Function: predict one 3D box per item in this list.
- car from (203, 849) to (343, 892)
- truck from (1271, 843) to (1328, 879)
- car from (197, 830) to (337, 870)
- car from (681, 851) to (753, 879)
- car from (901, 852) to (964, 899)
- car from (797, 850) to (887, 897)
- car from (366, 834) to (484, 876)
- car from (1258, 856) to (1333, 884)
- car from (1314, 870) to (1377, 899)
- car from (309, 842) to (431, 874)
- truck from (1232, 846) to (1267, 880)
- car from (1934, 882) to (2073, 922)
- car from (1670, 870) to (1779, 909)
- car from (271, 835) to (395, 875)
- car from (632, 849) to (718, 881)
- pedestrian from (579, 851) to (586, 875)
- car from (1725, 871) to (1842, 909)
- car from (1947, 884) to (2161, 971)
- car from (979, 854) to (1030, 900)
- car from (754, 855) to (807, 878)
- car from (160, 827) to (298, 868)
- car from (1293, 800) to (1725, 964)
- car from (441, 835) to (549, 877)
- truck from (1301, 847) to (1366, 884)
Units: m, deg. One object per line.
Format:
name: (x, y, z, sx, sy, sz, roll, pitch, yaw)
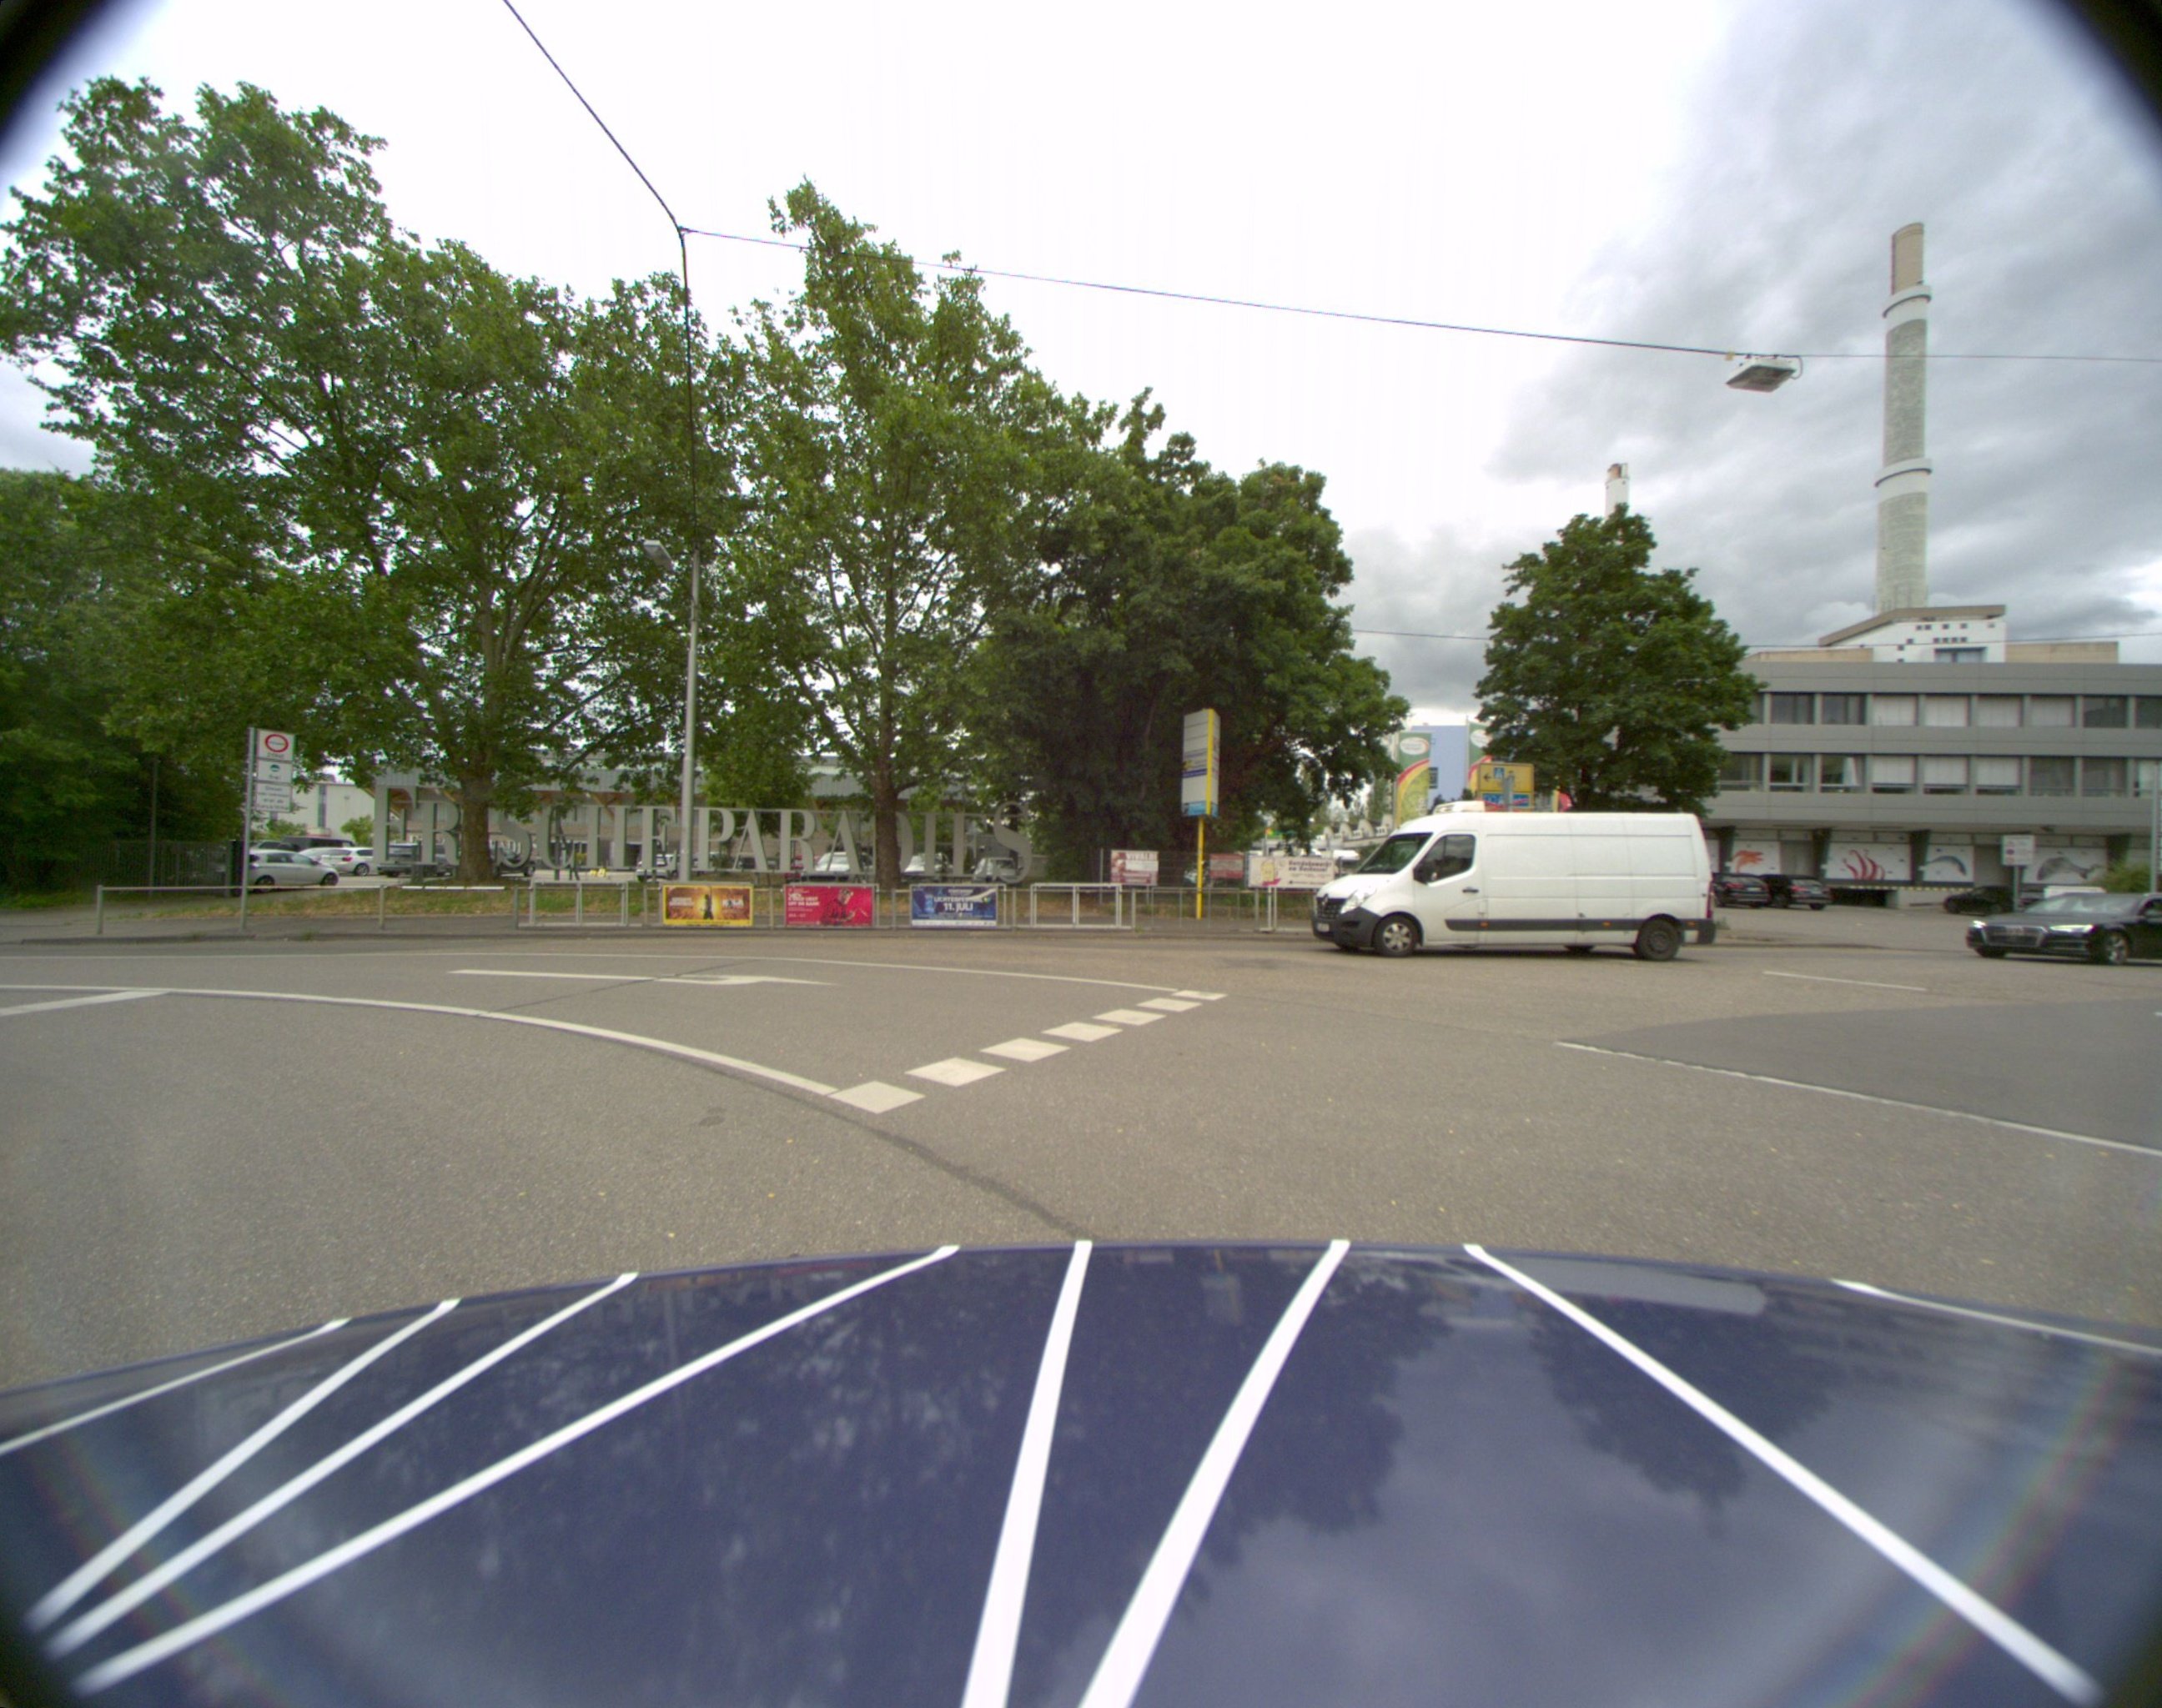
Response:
car: (-30.561, 0.625, 28.914, 1.481, 1.495, 3.729, 1, -1, -4)
truck: (25.866, 0.924, 91.024, 2.849, 3.909, 15.734, 2, -1, 2)
car: (-43.492, -0.146, 40.802, 1.999, 1.986, 5.103, 1, -1, -1)
car: (-21.233, 0.650, 44.528, 1.999, 1.552, 4.641, 1, -1, -1)
car: (-5.529, 0.815, 28.706, 1.591, 1.603, 4.318, 1, -2, -1)
car: (-8.972, 0.747, 28.946, 1.883, 1.603, 4.527, 1, -2, 1)
car: (-33.634, 0.112, 39.166, 1.999, 2.001, 4.641, 1, -1, -1)
car: (22.359, 1.637, 79.489, 7.146, 2.716, 2.245, 2, -1, 4)
car: (12.289, 1.395, 35.519, 1.708, 1.241, 3.702, 2, -1, 1)
car: (-36.914, 0.226, 39.668, 1.999, 1.549, 4.641, 1, -1, -1)
truck: (22.137, 1.224, 100.093, 2.996, 4.141, 9.192, 1, -1, 4)
car: (42.428, 2.138, 35.131, 2.045, 1.437, 4.836, 1, 1, 23)
car: (31.638, 1.695, 37.550, 1.836, 1.608, 4.467, 2, 0, 6)
car: (-39.688, 0.086, 40.484, 1.999, 2.001, 4.641, 1, -1, -1)
car: (-21.111, 0.599, 39.727, 1.999, 1.552, 4.641, 1, -1, -1)
pedestrian: (-37.839, 0.678, 57.643, 0.342, 1.754, 0.437, 2, -2, -23)
car: (34.410, 1.707, 37.391, 1.837, 1.608, 4.425, 2, 0, 5)
car: (19.901, 1.401, 14.899, 4.442, 1.503, 1.864, 1, -1, -11)
car: (-2.824, 0.868, 28.760, 1.591, 1.603, 4.001, 1, -2, -1)
car: (-21.851, 0.935, 55.452, 1.999, 1.552, 4.641, 1, -1, -1)
car: (-45.968, -0.290, 41.189, 1.999, 2.001, 4.824, 1, -1, -1)
car: (7.022, 0.485, 12.956, 6.098, 2.444, 2.389, 1, -1, -4)
car: (-30.260, 0.125, 39.438, 1.999, 2.001, 4.641, 1, -1, -1)
truck: (29.885, 1.375, 90.995, 2.849, 3.909, 15.733, 2, -1, 2)
